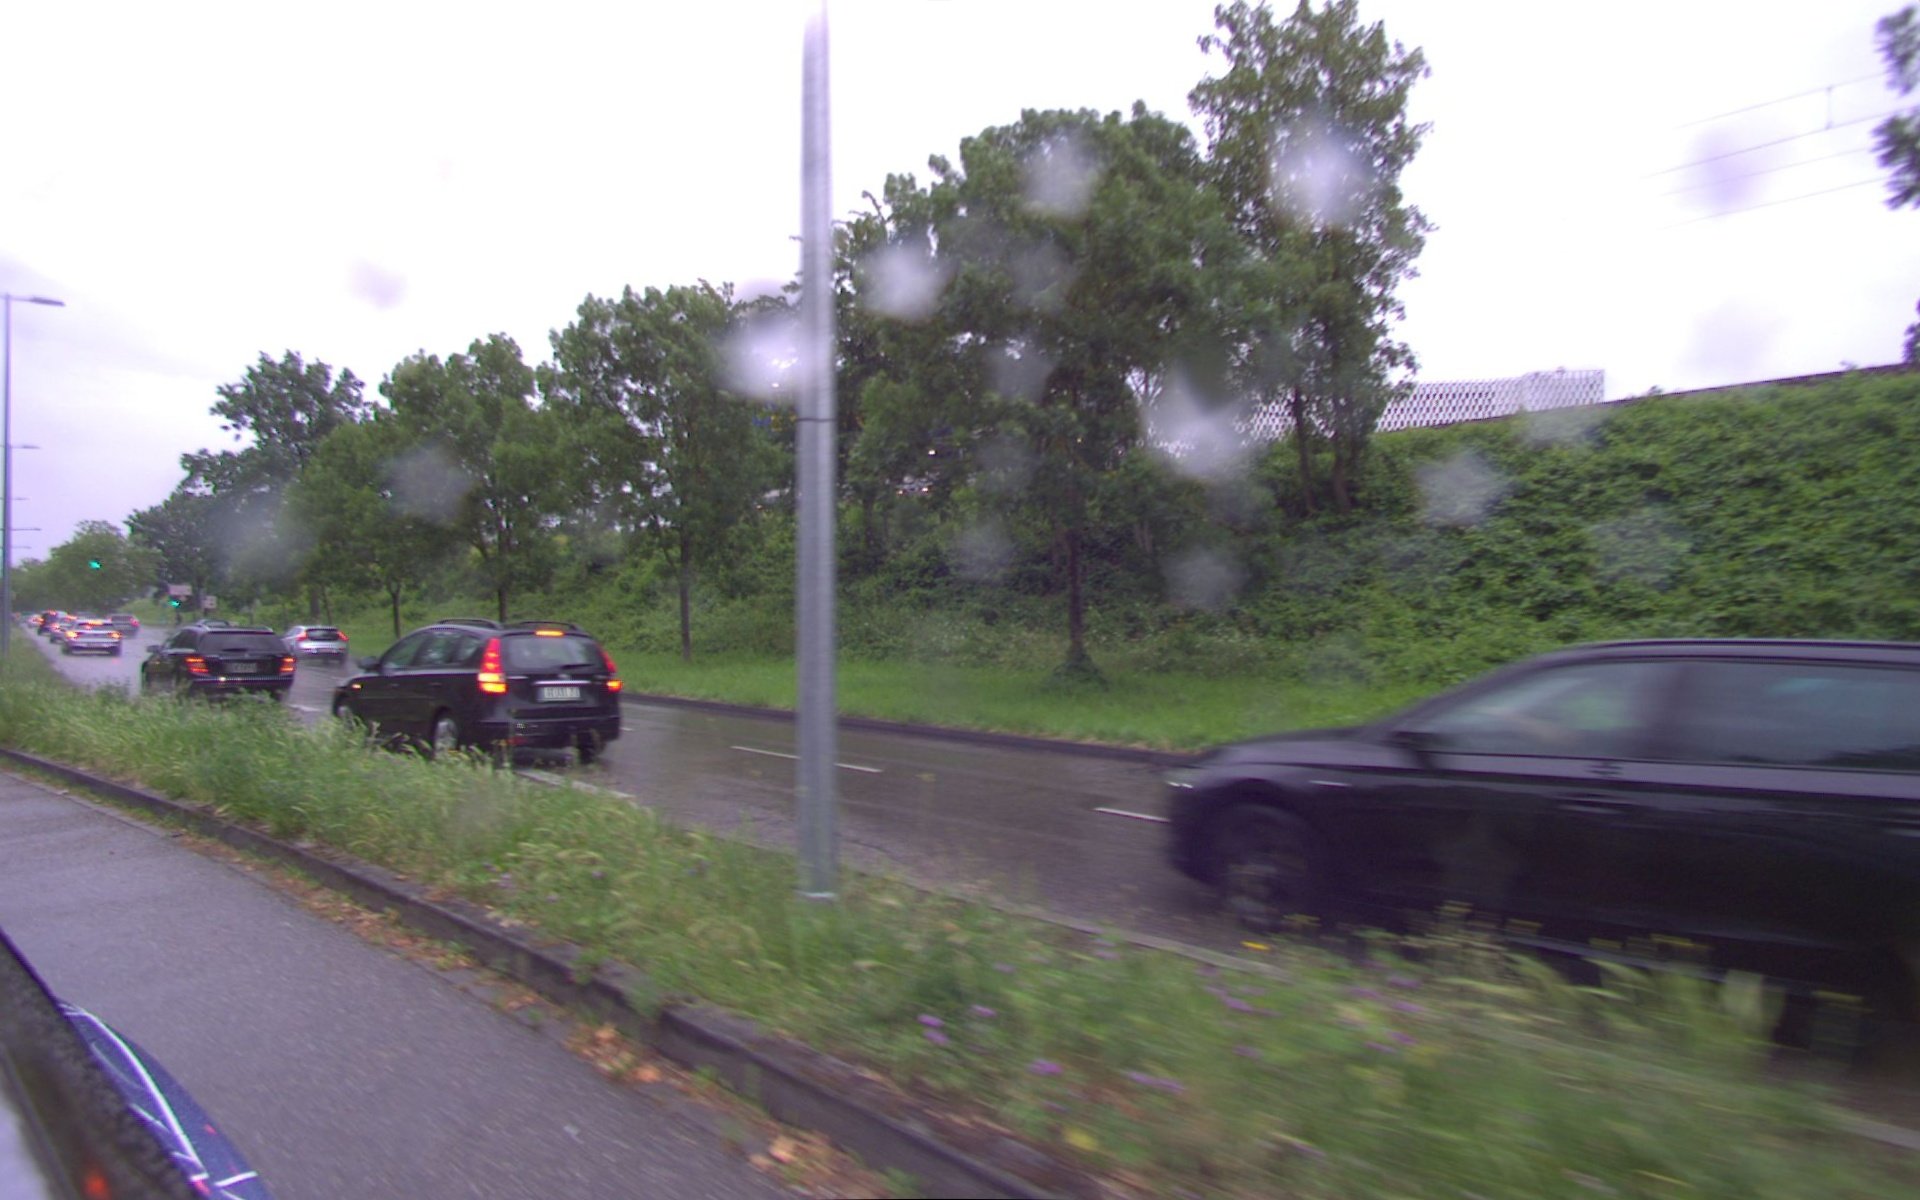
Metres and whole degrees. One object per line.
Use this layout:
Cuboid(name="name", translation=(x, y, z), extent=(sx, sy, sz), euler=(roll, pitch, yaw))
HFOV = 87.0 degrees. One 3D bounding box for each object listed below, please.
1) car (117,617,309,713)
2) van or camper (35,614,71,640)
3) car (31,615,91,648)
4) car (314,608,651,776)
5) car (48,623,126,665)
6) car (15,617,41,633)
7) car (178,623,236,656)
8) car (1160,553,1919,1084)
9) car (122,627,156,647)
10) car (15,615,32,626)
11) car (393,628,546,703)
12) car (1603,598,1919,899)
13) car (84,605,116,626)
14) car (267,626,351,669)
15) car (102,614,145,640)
Cuboid(name="car", translation=(-14.161, 1.153, 19.091), extent=(4.706, 1.586, 1.889), euler=(-1, -3, 41))
Cuboid(name="van or camper", translation=(-66.335, 1.961, 73.974), extent=(1.708, 1.755, 4.003), euler=(4, -4, -44))
Cuboid(name="car", translation=(-48.879, 1.709, 55.019), extent=(4.110, 1.625, 1.878), euler=(-1, -5, 42))
Cuboid(name="car", translation=(-5.619, 0.933, 11.675), extent=(4.356, 1.587, 1.805), euler=(-1, -3, 40))
Cuboid(name="car", translation=(-35.714, 1.781, 41.347), extent=(4.709, 1.586, 1.887), euler=(-1, -4, 43))
Cuboid(name="car", translation=(-100.279, 2.696, 108.895), extent=(1.970, 1.700, 4.713), euler=(4, -4, -43))
Cuboid(name="car", translation=(-41.508, 2.153, 55.743), extent=(1.970, 1.700, 4.713), euler=(3, -3, -43))
Cuboid(name="car", translation=(3.139, 0.725, 4.185), extent=(1.700, 1.630, 4.349), euler=(4, -4, -43))
Cuboid(name="car", translation=(-73.527, 3.277, 90.573), extent=(1.970, 1.700, 4.713), euler=(4, -4, -43))
Cuboid(name="car", translation=(-131.003, 2.885, 141.510), extent=(1.755, 1.573, 3.777), euler=(0, -1, -43))
Cuboid(name="car", translation=(-11.614, 1.499, 23.800), extent=(1.886, 1.586, 4.713), euler=(5, -5, -43))
Cuboid(name="car", translation=(6.099, 0.802, 5.723), extent=(1.675, 1.630, 3.852), euler=(1, -1, -42))
Cuboid(name="car", translation=(-72.199, 1.334, 84.940), extent=(1.875, 1.625, 4.116), euler=(4, -4, -42))
Cuboid(name="car", translation=(-24.305, 1.752, 37.730), extent=(1.813, 1.513, 4.444), euler=(3, -3, -43))
Cuboid(name="car", translation=(-58.434, 1.901, 70.707), extent=(1.970, 1.700, 4.713), euler=(4, -4, -43))
